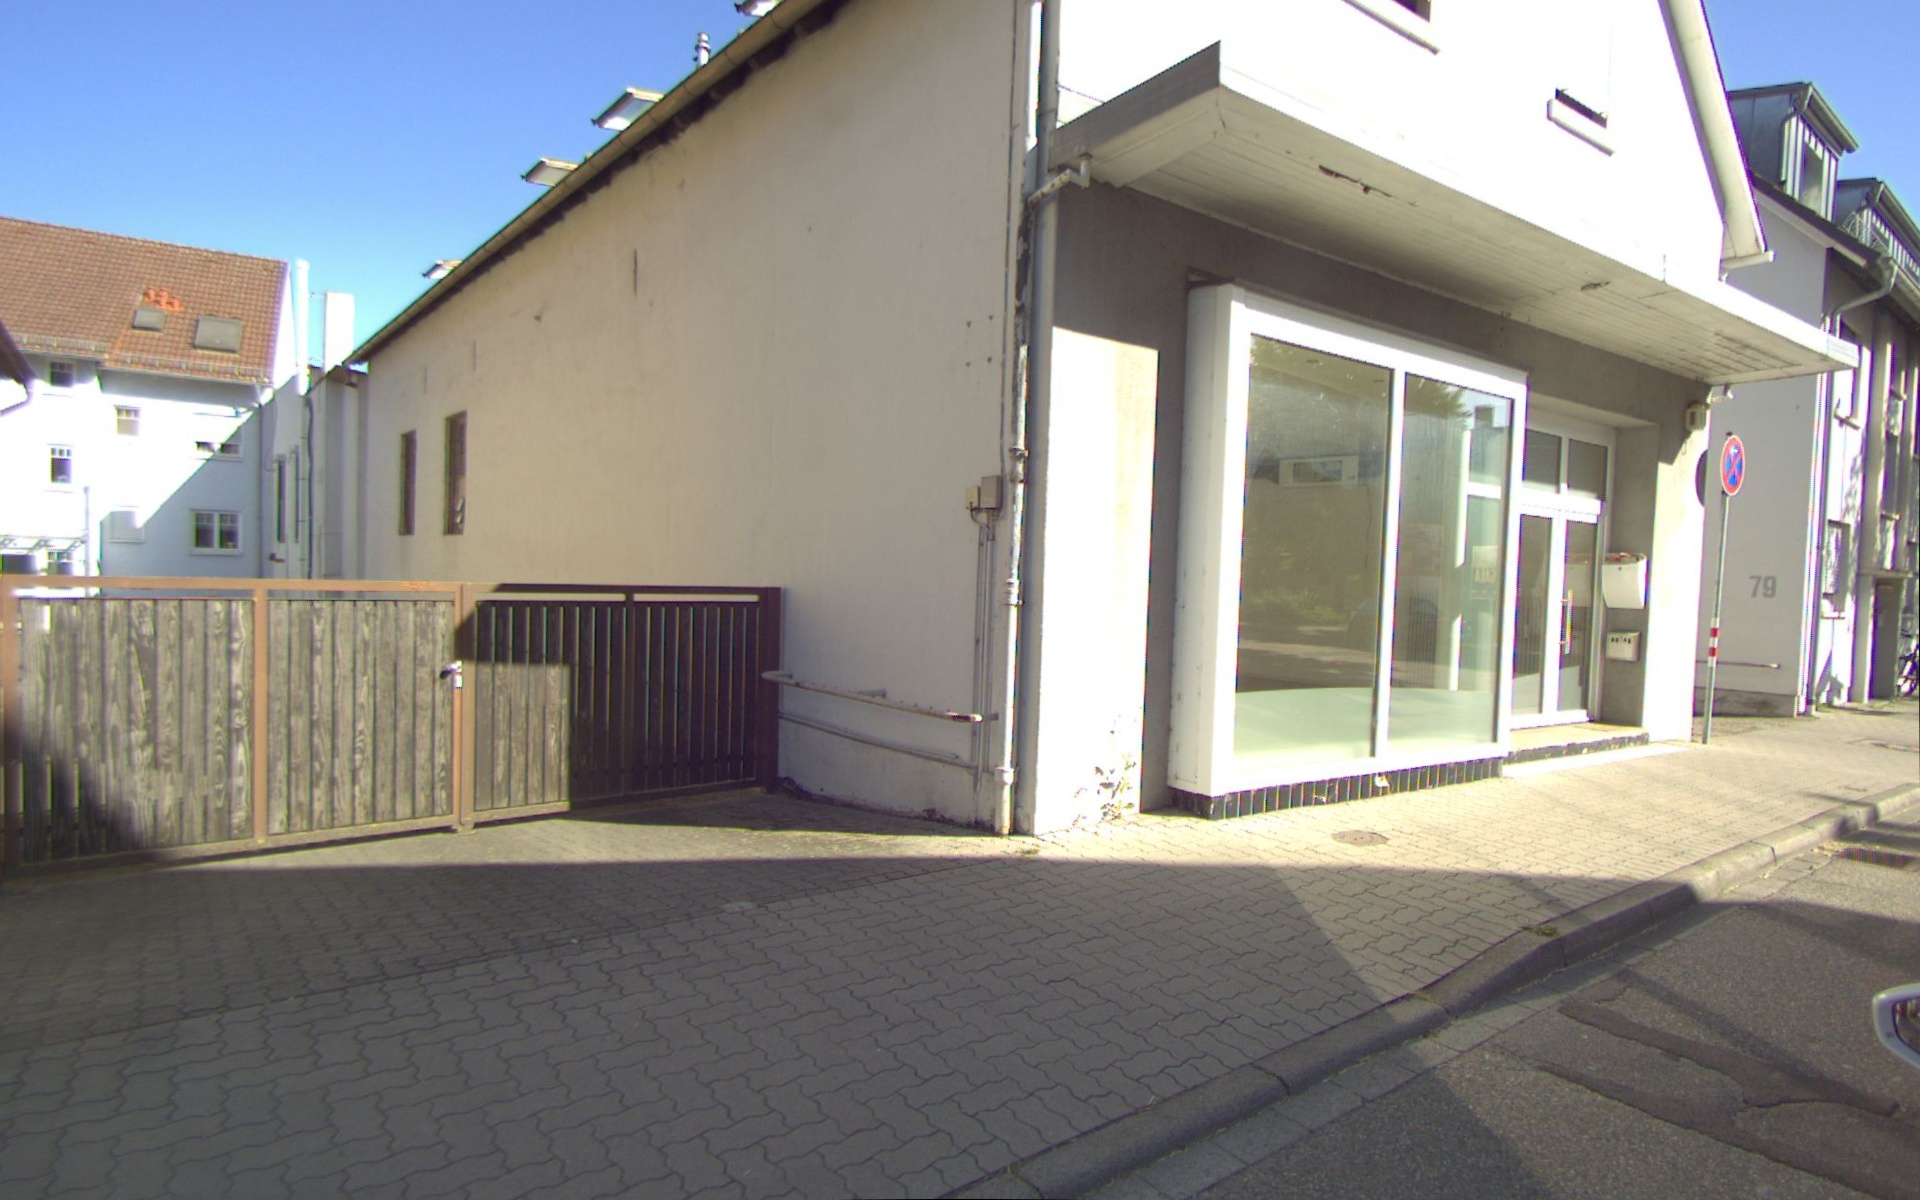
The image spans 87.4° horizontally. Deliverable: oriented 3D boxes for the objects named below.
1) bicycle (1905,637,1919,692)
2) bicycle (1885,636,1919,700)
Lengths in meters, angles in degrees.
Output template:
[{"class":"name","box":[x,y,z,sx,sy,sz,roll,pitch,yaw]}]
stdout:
[{"class":"bicycle","box":[19.539,1.303,19.884,2.011,1.066,0.575,3,0,-29]},{"class":"bicycle","box":[16.878,1.200,17.787,1.368,1.066,0.420,3,0,-35]}]
